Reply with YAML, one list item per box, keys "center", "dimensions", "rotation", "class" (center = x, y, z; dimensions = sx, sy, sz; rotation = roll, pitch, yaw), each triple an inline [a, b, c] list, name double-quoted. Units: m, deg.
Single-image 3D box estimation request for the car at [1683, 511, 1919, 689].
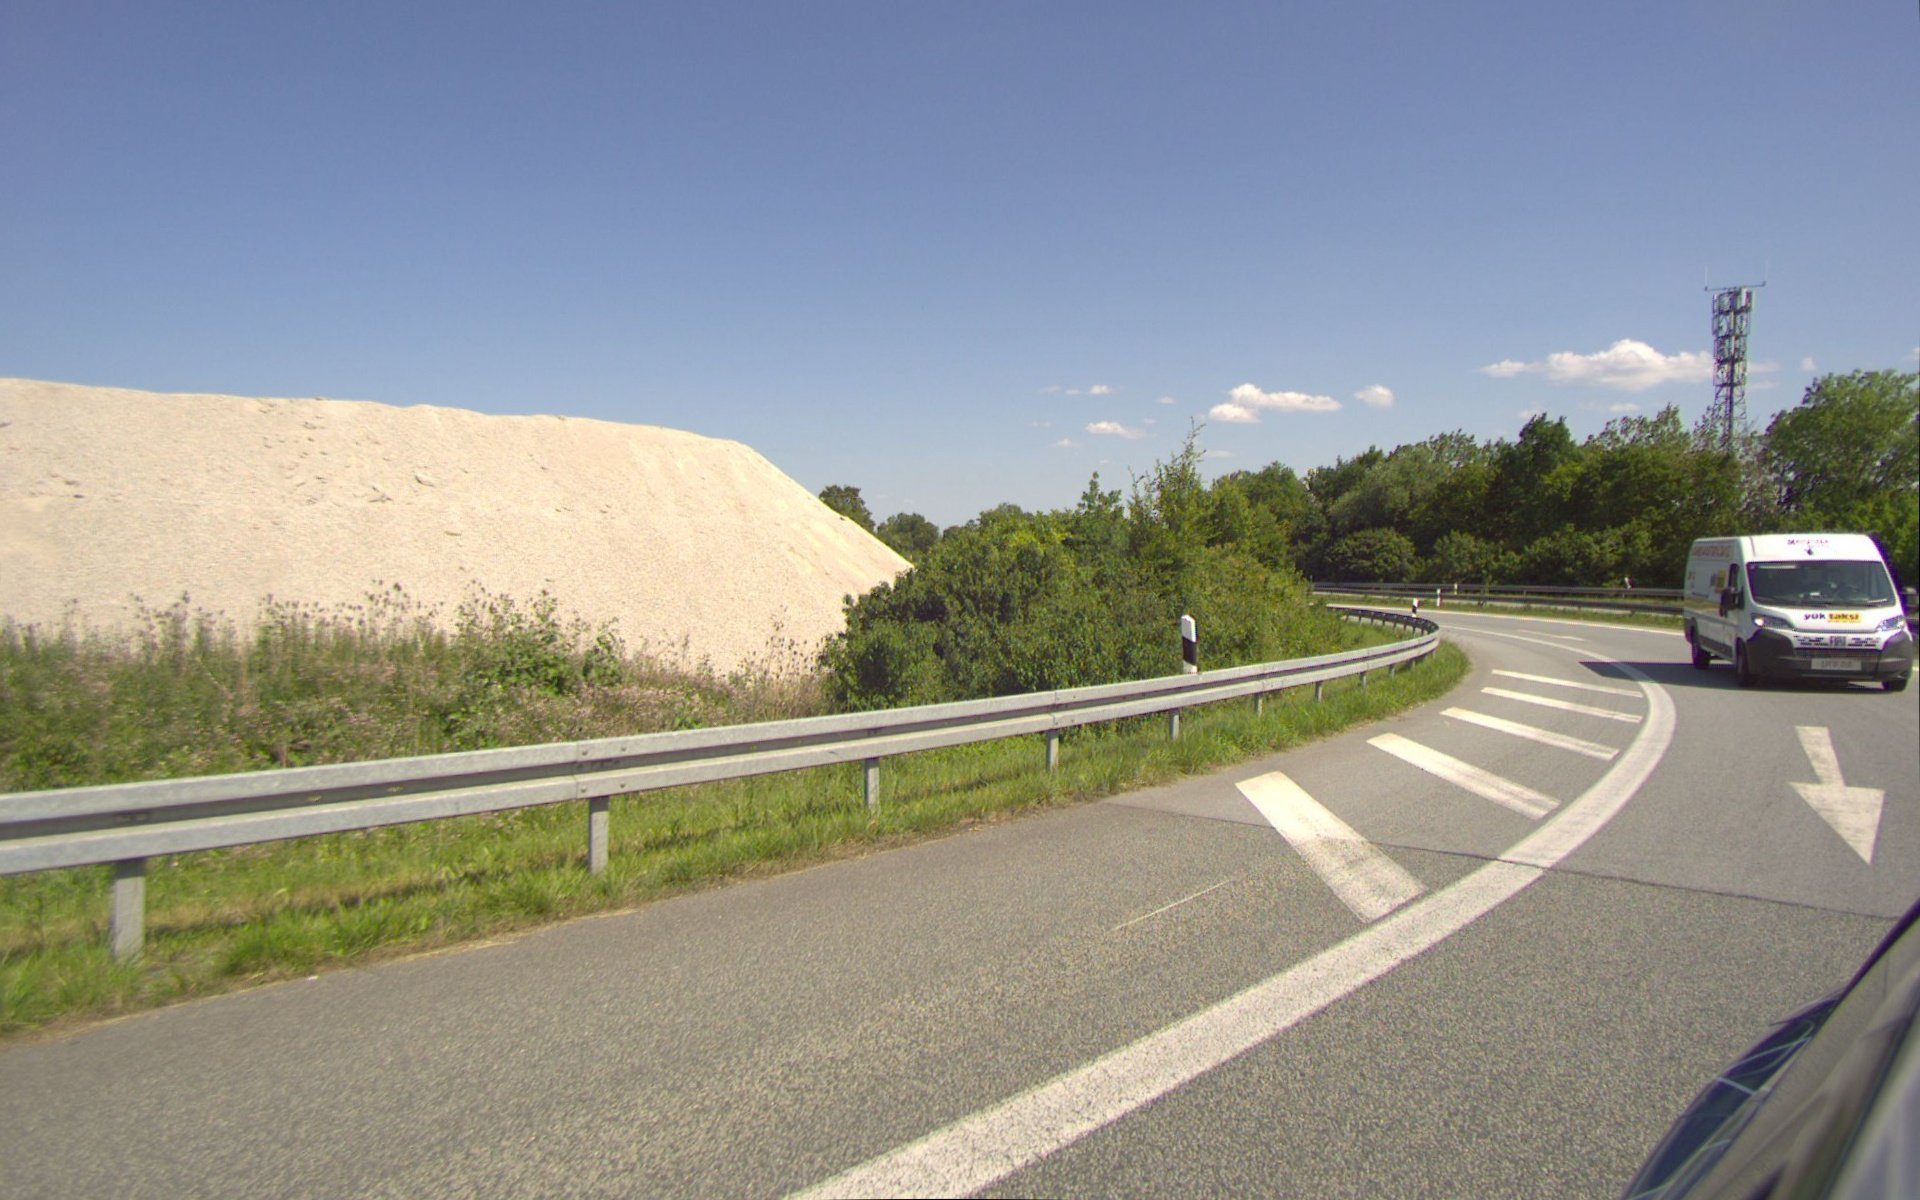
- center: [14.414, -0.067, 17.593]
  dimensions: [2.069, 2.555, 6.179]
  rotation: [-1, 1, 27]
  class: "car"
